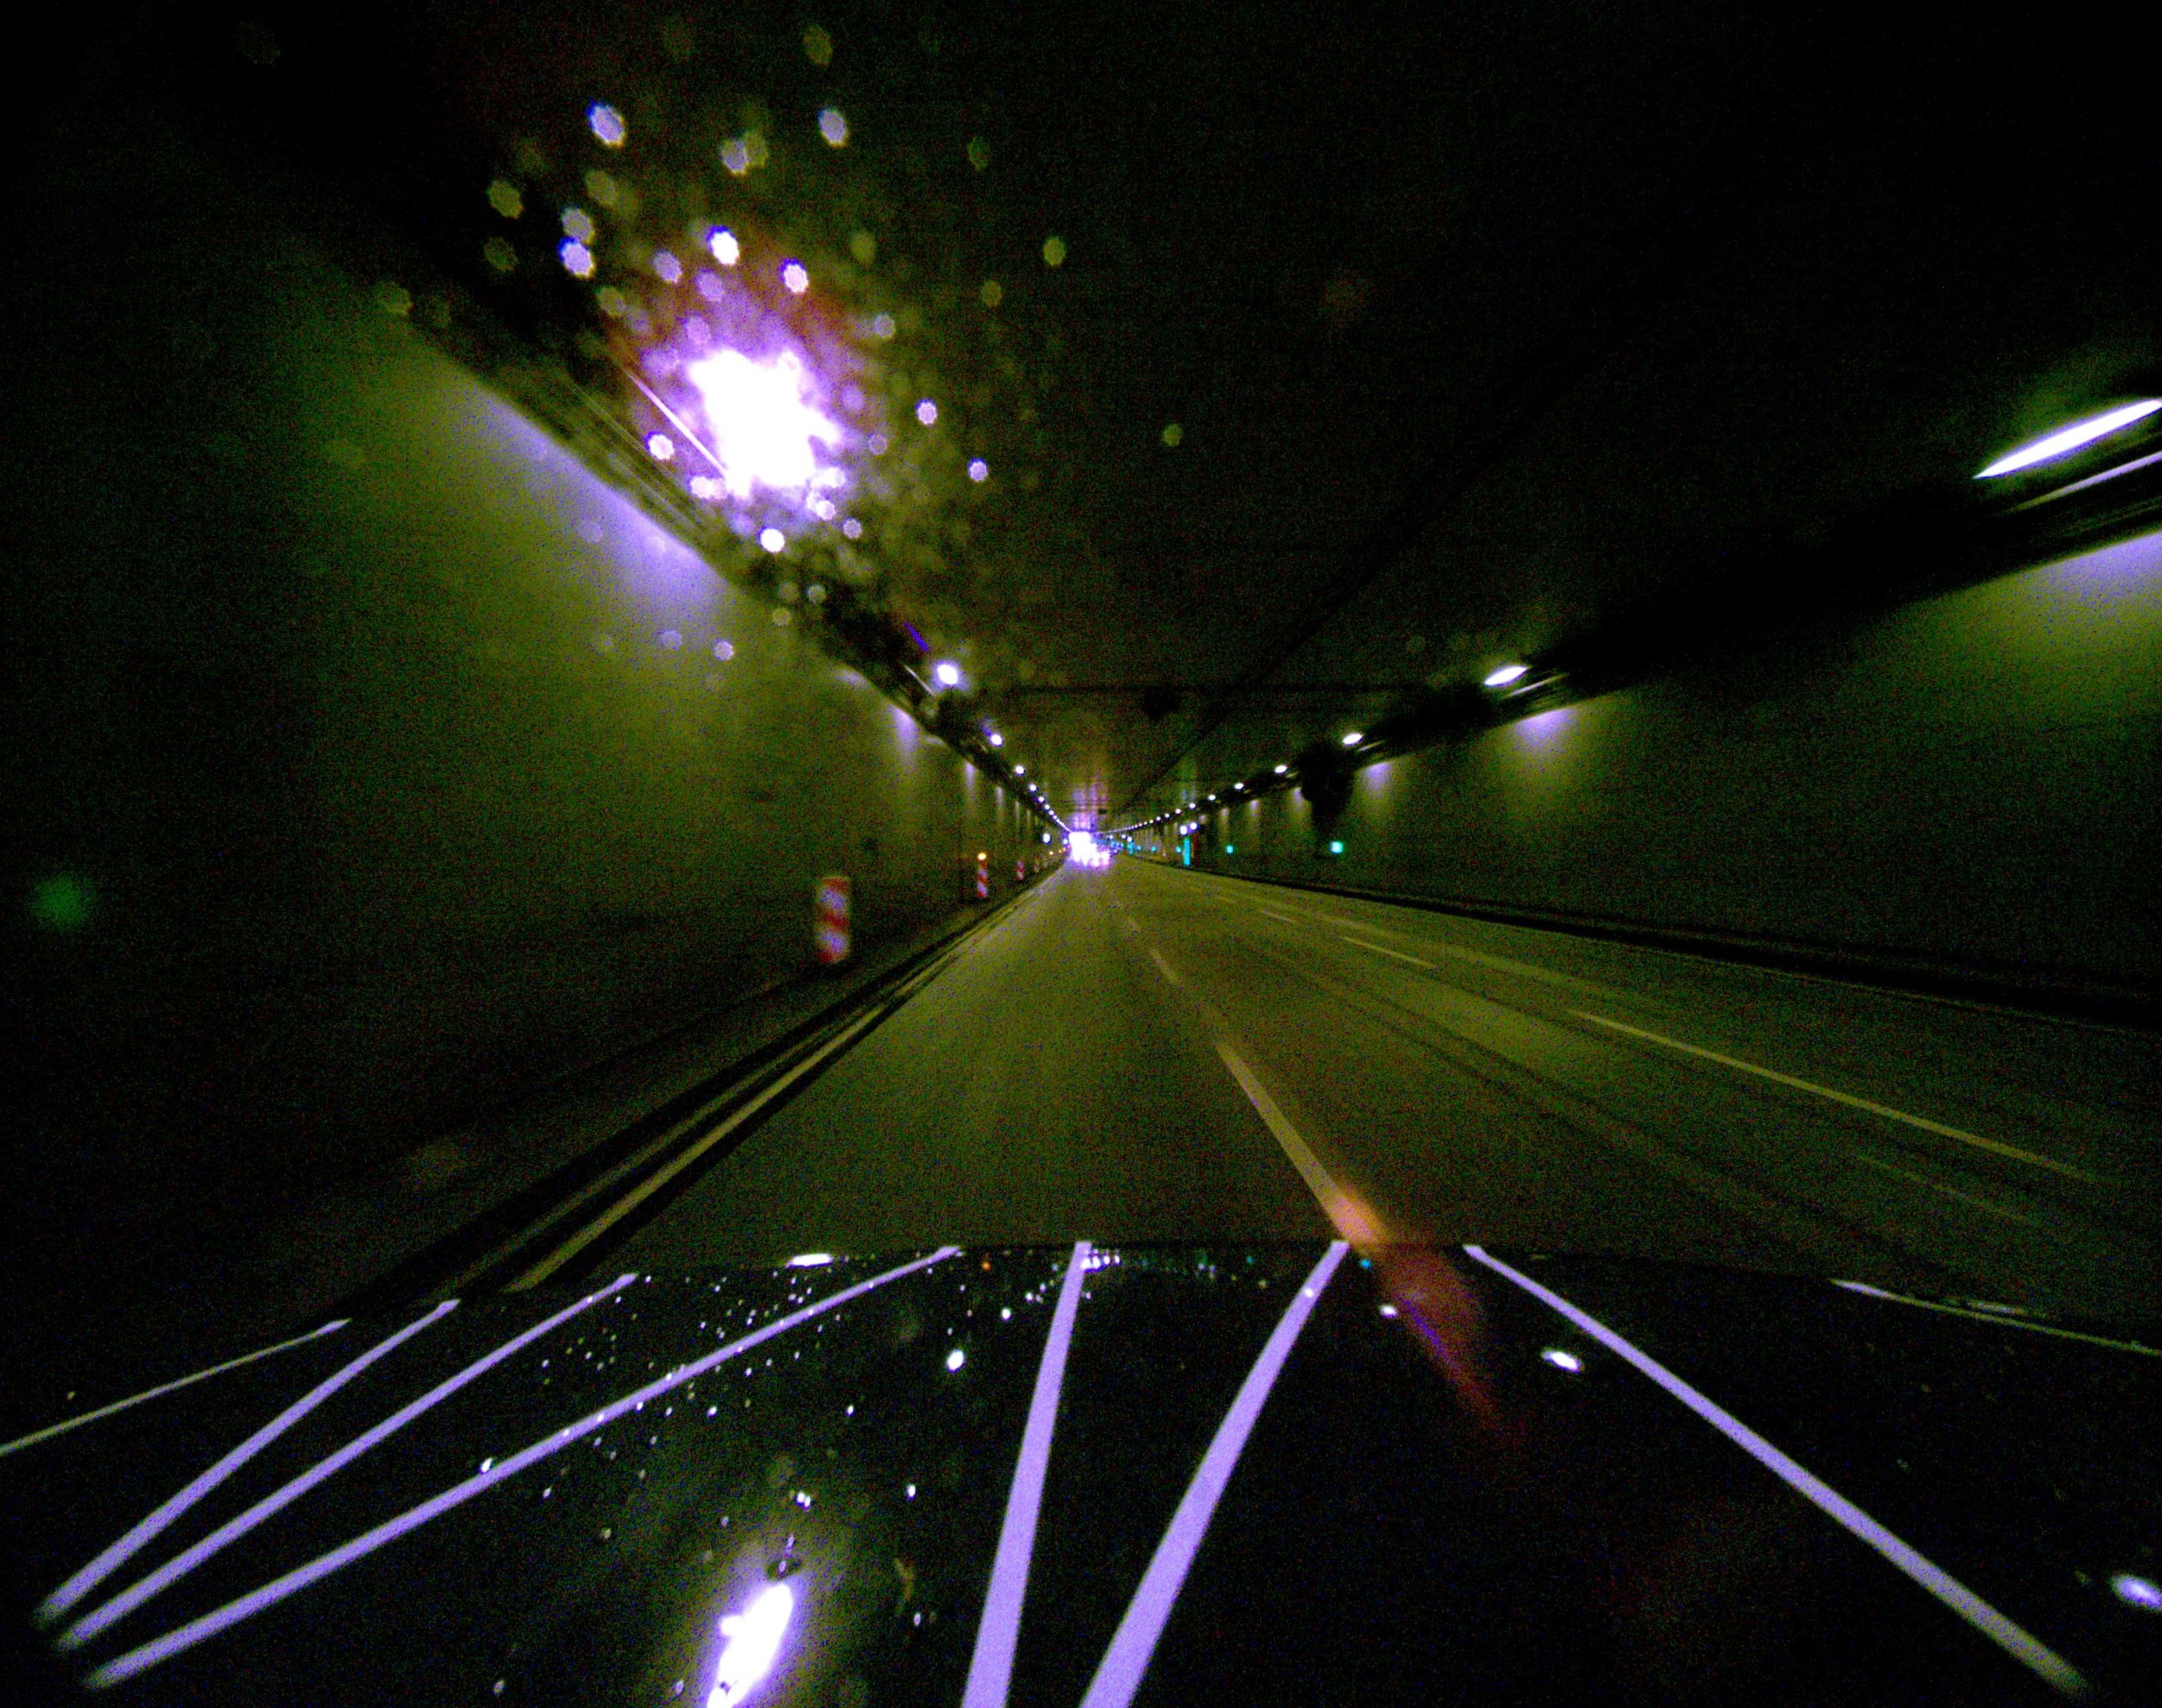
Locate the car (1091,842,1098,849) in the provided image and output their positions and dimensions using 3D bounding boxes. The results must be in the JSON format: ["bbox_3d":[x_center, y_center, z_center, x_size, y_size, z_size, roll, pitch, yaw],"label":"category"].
[{"bbox_3d":[3.845,-2.465,217.015,1.998,1.756,3.999,-1,2,1],"label":"car"}]

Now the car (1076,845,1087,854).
[{"bbox_3d":[0.123,-0.863,143.845,1.998,1.686,3.999,-1,2,1],"label":"car"}]

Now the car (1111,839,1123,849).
[{"bbox_3d":[6.496,-1.817,138.530,1.998,1.686,3.999,-3,1,0],"label":"car"}]

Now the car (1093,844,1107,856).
[{"bbox_3d":[2.772,-0.626,113.368,1.998,1.686,3.999,-3,1,1],"label":"car"}]
